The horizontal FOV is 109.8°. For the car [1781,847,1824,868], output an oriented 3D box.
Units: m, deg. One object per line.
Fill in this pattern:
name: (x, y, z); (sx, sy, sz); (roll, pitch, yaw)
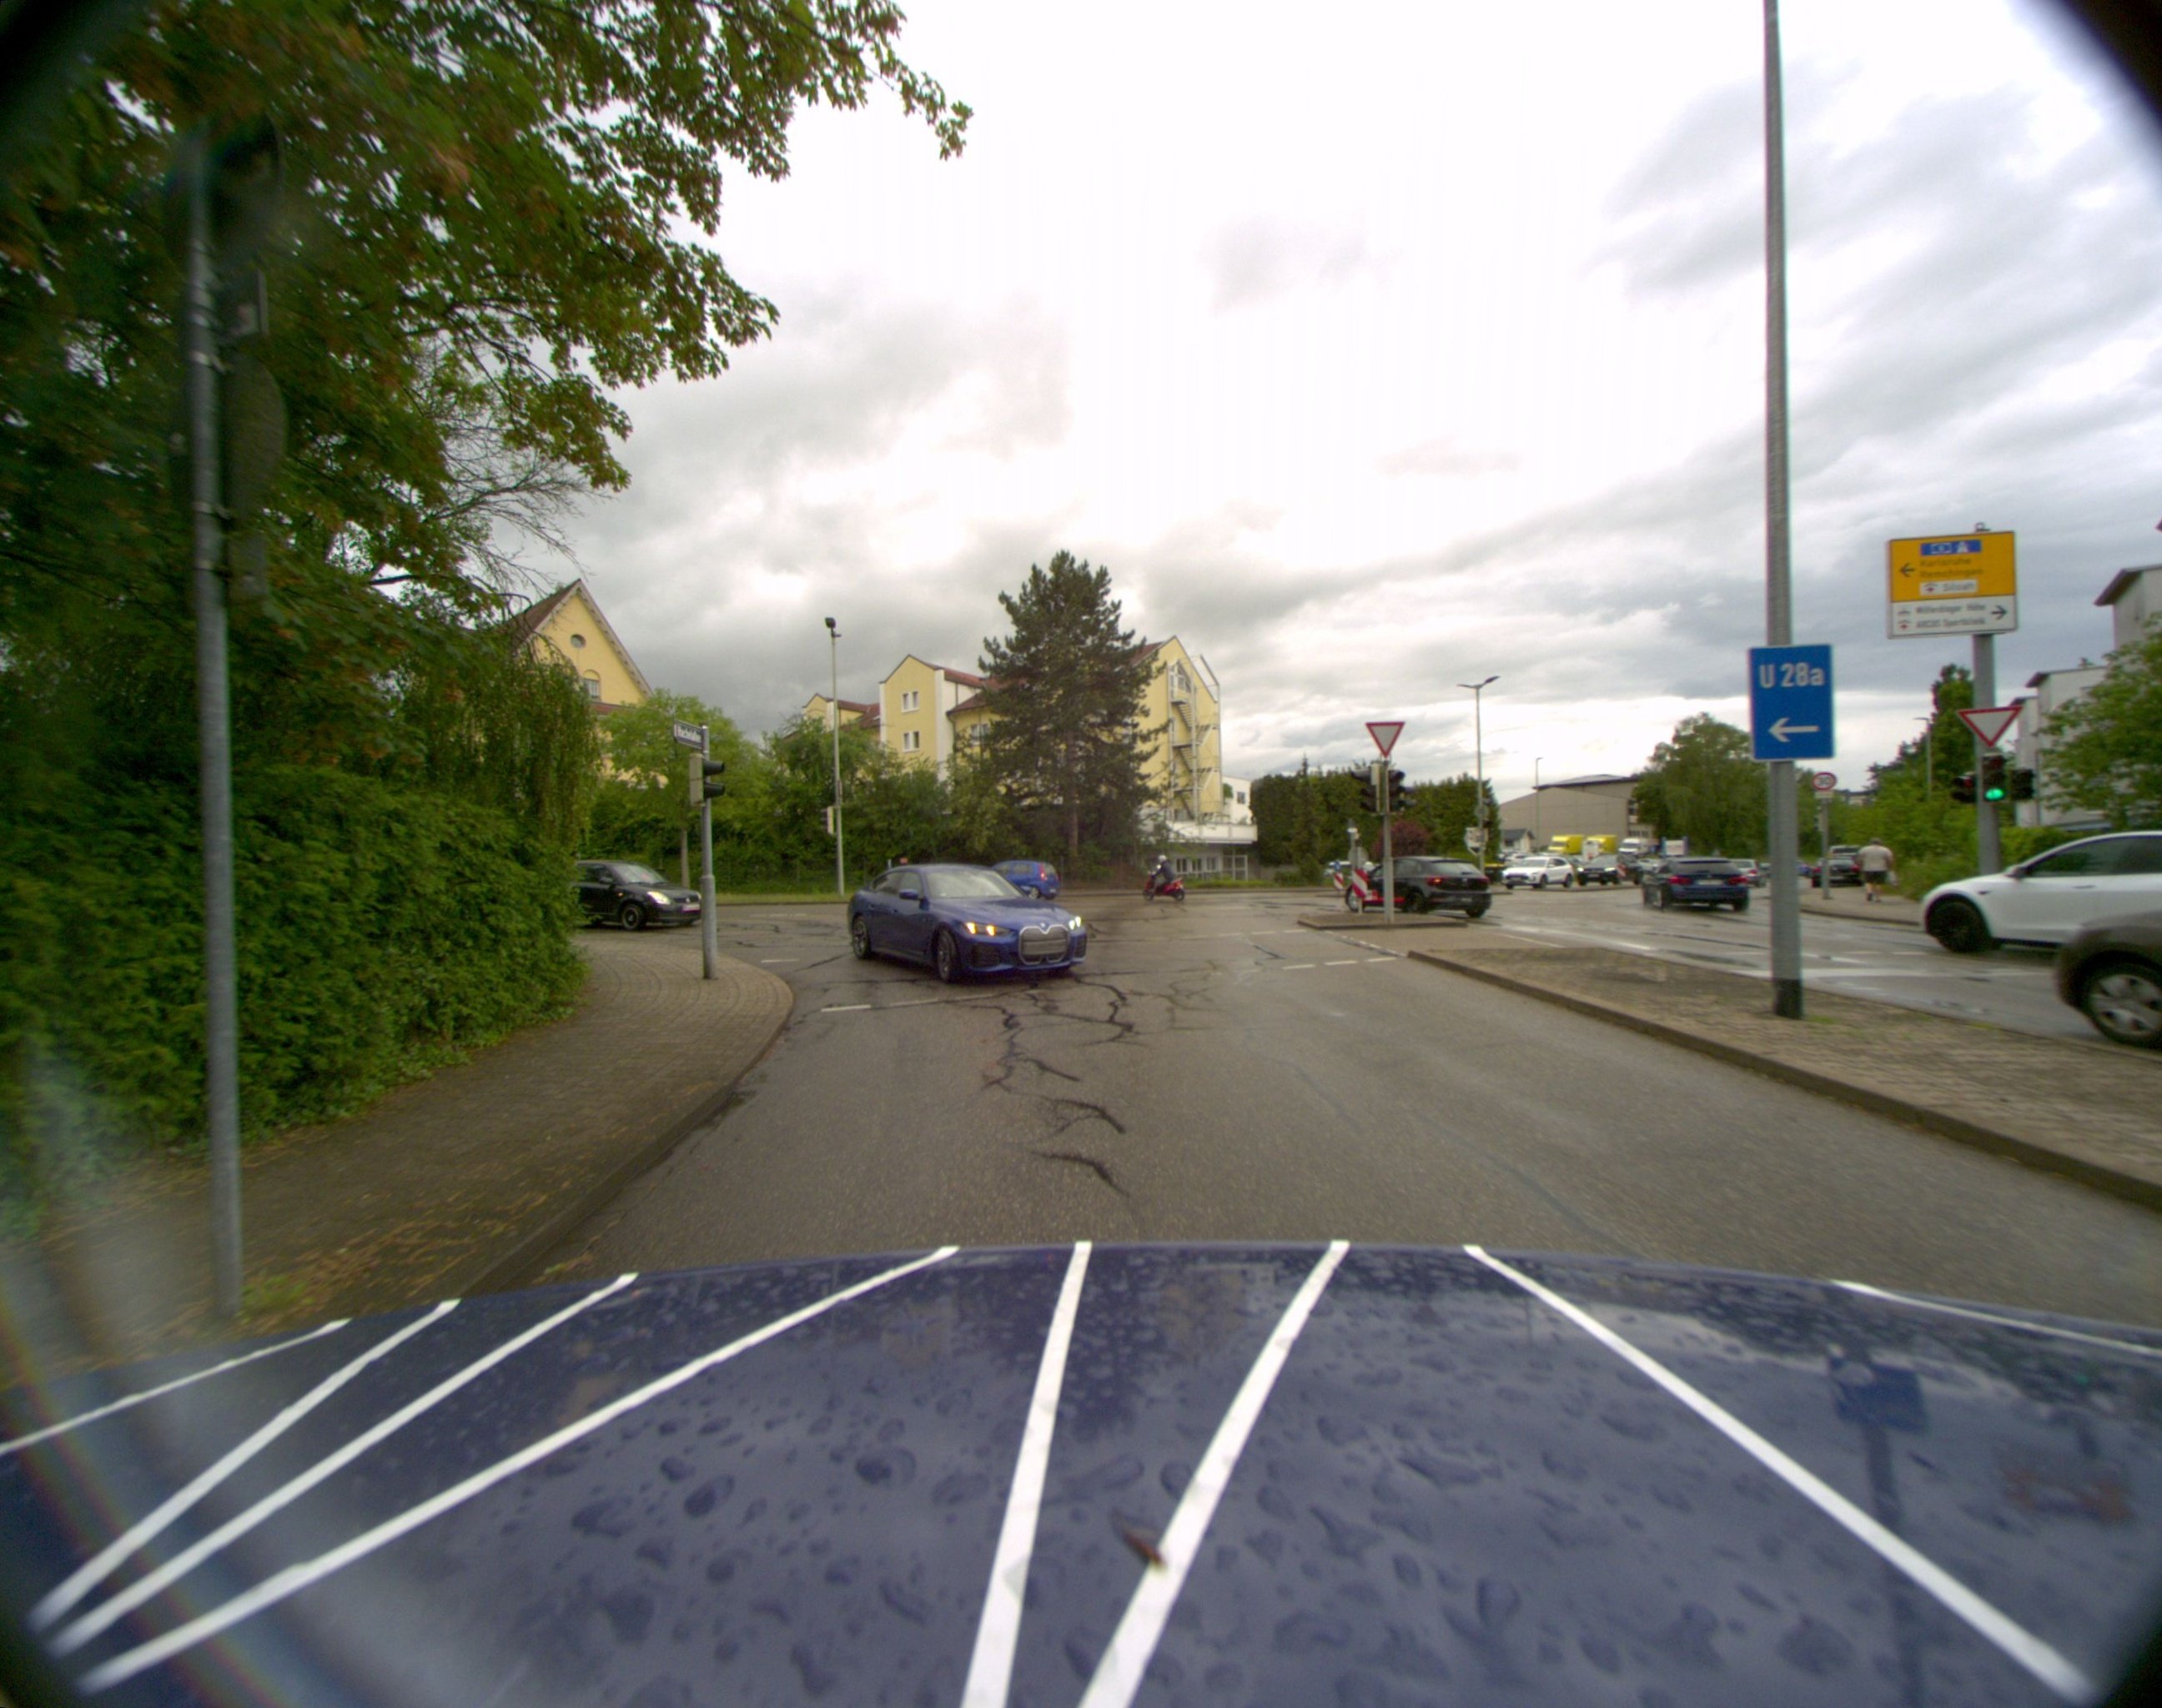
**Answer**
car: (59.553, 0.292, 62.682); (4.008, 1.546, 1.995); (-1, -1, -39)

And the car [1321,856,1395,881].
car: (17.562, 0.918, 48.339); (2.003, 1.455, 3.990); (-2, 1, -32)

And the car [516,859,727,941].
car: (-10.219, 1.014, 16.938); (3.992, 1.511, 1.749); (-3, 2, 19)

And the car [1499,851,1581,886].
car: (23.342, 0.701, 38.593); (4.006, 1.630, 1.995); (-2, 1, -33)

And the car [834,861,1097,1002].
car: (-1.873, 0.906, 11.011); (1.918, 1.487, 4.337); (-4, 2, -36)

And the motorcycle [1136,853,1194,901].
motorcycle: (2.946, 0.779, 26.765); (1.916, 1.615, 0.799); (0, 1, 41)

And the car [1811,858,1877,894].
car: (36.249, 1.013, 36.083); (4.008, 1.546, 1.995); (-1, -1, -42)

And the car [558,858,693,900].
car: (-17.432, 0.938, 29.224); (3.997, 1.492, 1.925); (-1, 1, 0)

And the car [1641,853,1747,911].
car: (16.782, 0.723, 21.012); (1.755, 1.426, 4.361); (-2, -1, 32)

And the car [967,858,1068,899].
car: (-2.368, 0.940, 28.425); (3.432, 1.447, 1.528); (-2, -2, 25)

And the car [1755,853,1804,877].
car: (48.781, 0.753, 53.031); (4.008, 1.543, 1.995); (0, -1, -40)

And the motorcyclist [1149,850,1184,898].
motorcyclist: (3.015, 0.683, 26.709); (0.936, 1.615, 0.774); (0, 2, 41)

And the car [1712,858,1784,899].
car: (33.551, 1.208, 38.195); (4.006, 1.661, 1.995); (-5, 3, -39)

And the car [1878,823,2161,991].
car: (12.547, 0.529, 8.934); (1.951, 1.715, 4.604); (-3, 0, 9)

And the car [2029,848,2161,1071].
car: (7.949, 0.717, 3.797); (1.826, 1.478, 3.939); (0, 1, 9)

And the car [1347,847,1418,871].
car: (19.649, 0.336, 49.609); (1.735, 1.386, 3.990); (-5, 2, -34)

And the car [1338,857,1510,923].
car: (8.191, 0.800, 18.637); (1.822, 1.400, 4.199); (-1, 0, -10)

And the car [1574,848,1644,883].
car: (29.665, 0.624, 42.679); (4.007, 1.805, 1.995); (-2, 0, -36)

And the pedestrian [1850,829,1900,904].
pedestrian: (21.984, 0.348, 21.050); (0.847, 2.002, 0.803); (-2, 0, 42)
